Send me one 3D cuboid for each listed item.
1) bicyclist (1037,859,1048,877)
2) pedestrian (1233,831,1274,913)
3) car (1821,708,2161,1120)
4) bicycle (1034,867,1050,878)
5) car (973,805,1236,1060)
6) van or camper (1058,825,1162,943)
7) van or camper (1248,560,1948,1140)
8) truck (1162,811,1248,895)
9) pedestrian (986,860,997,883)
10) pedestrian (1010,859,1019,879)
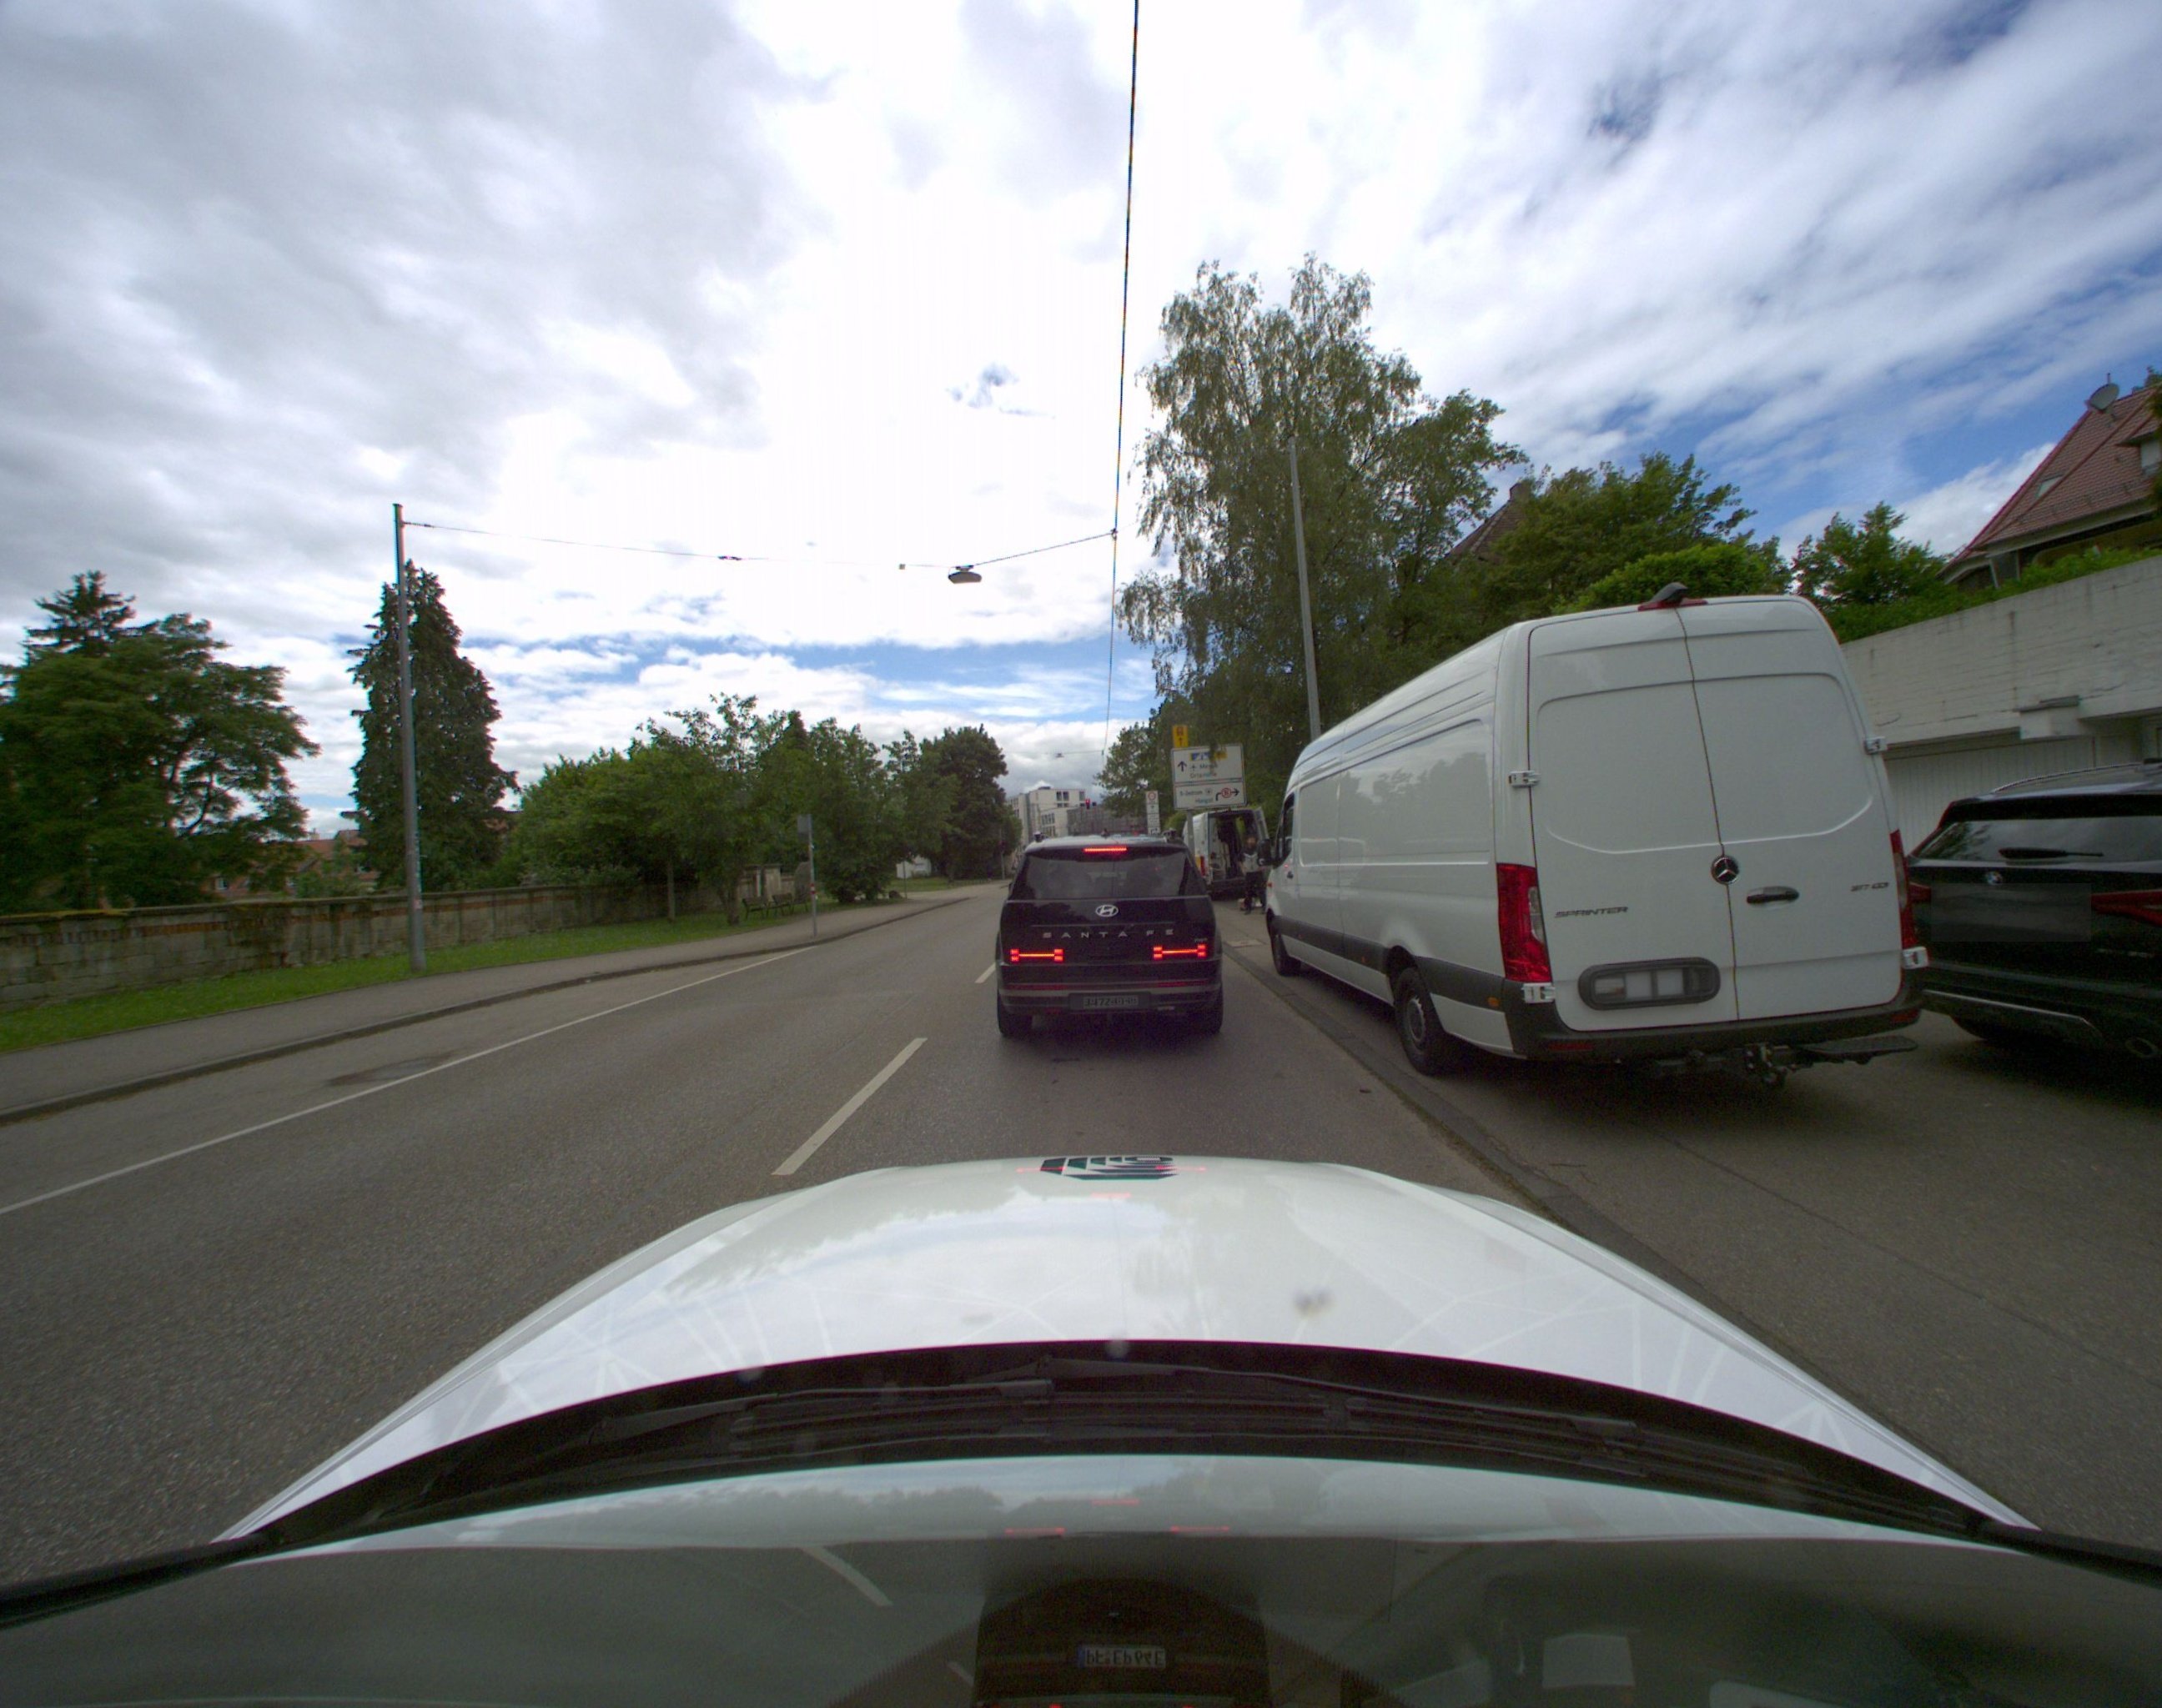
[{"bbox_3d":[-3.738,1.345,78.519,0.722,1.691,0.821,0,-1,-38],"label":"bicyclist"},{"bbox_3d":[3.924,0.398,18.477,0.751,1.797,0.876,-3,-1,16],"label":"pedestrian"},{"bbox_3d":[6.818,0.147,4.124,4.398,1.750,1.739,-3,0,3],"label":"car"},{"bbox_3d":[-3.771,1.778,78.551,0.702,1.093,1.755,0,-1,-39],"label":"bicycle"},{"bbox_3d":[0.235,0.583,7.975,1.883,1.819,4.002,-1,0,2],"label":"car"},{"bbox_3d":[0.573,0.541,16.508,1.748,2.013,4.002,-3,0,2],"label":"van or camper"},{"bbox_3d":[3.090,-0.010,7.094,1.986,2.620,6.543,-3,0,2],"label":"van or camper"},{"bbox_3d":[4.248,0.012,28.837,1.937,2.561,5.213,-5,-1,-1],"label":"truck"},{"bbox_3d":[-6.752,1.297,61.527,0.737,1.715,0.791,-3,-1,-5],"label":"pedestrian"},{"bbox_3d":[-6.040,1.376,74.304,0.737,1.715,0.791,-3,-1,-5],"label":"pedestrian"}]
